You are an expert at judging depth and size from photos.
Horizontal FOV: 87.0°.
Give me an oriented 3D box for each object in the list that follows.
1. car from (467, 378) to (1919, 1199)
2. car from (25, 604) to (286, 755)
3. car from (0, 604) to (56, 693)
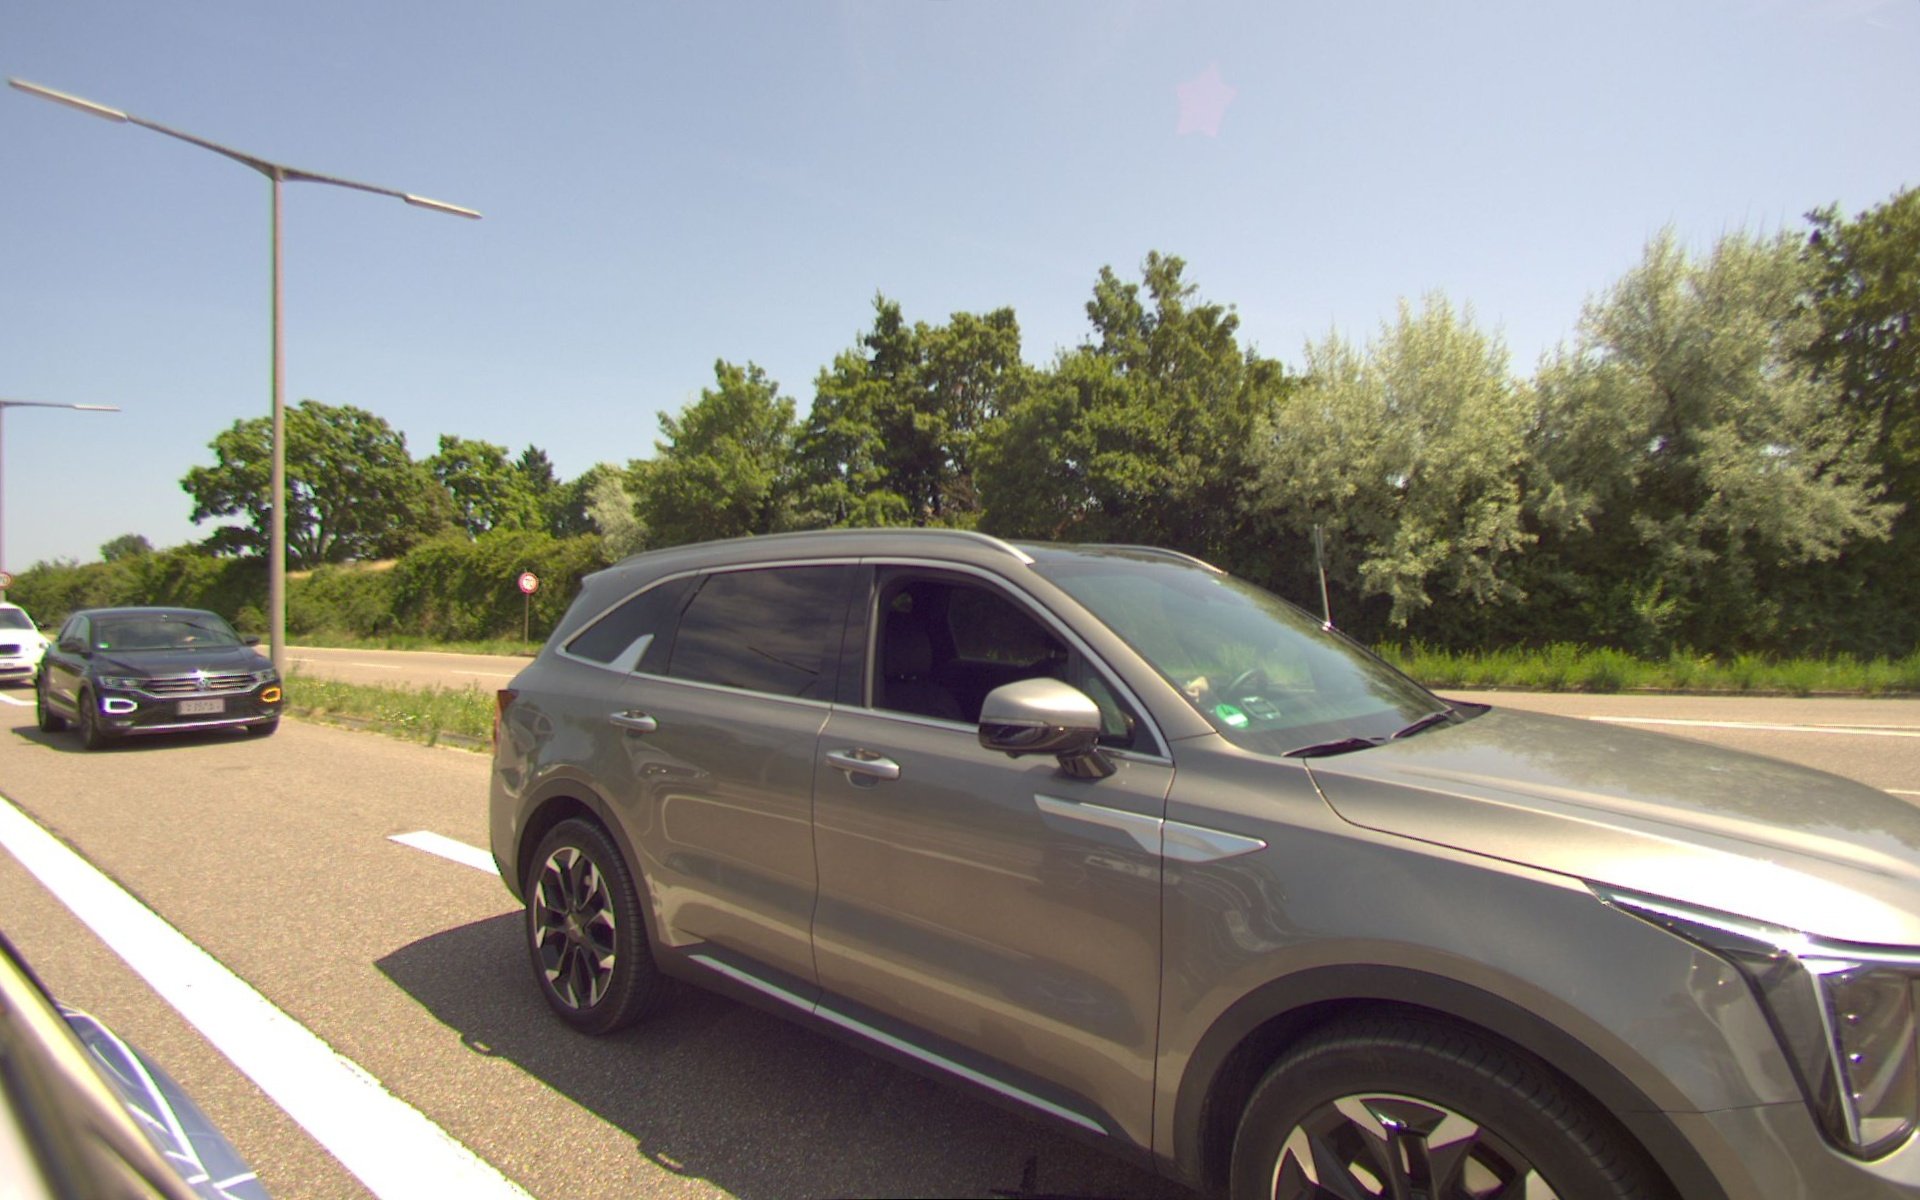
[{"bbox_3d":[0.364,0.594,3.165,4.528,1.681,1.762,-1,-1,40],"label":"car"},{"bbox_3d":[-9.788,0.839,12.211,3.997,1.511,1.731,-1,0,40],"label":"car"},{"bbox_3d":[-19.757,0.922,20.254,3.998,1.684,1.897,0,-1,40],"label":"car"}]
